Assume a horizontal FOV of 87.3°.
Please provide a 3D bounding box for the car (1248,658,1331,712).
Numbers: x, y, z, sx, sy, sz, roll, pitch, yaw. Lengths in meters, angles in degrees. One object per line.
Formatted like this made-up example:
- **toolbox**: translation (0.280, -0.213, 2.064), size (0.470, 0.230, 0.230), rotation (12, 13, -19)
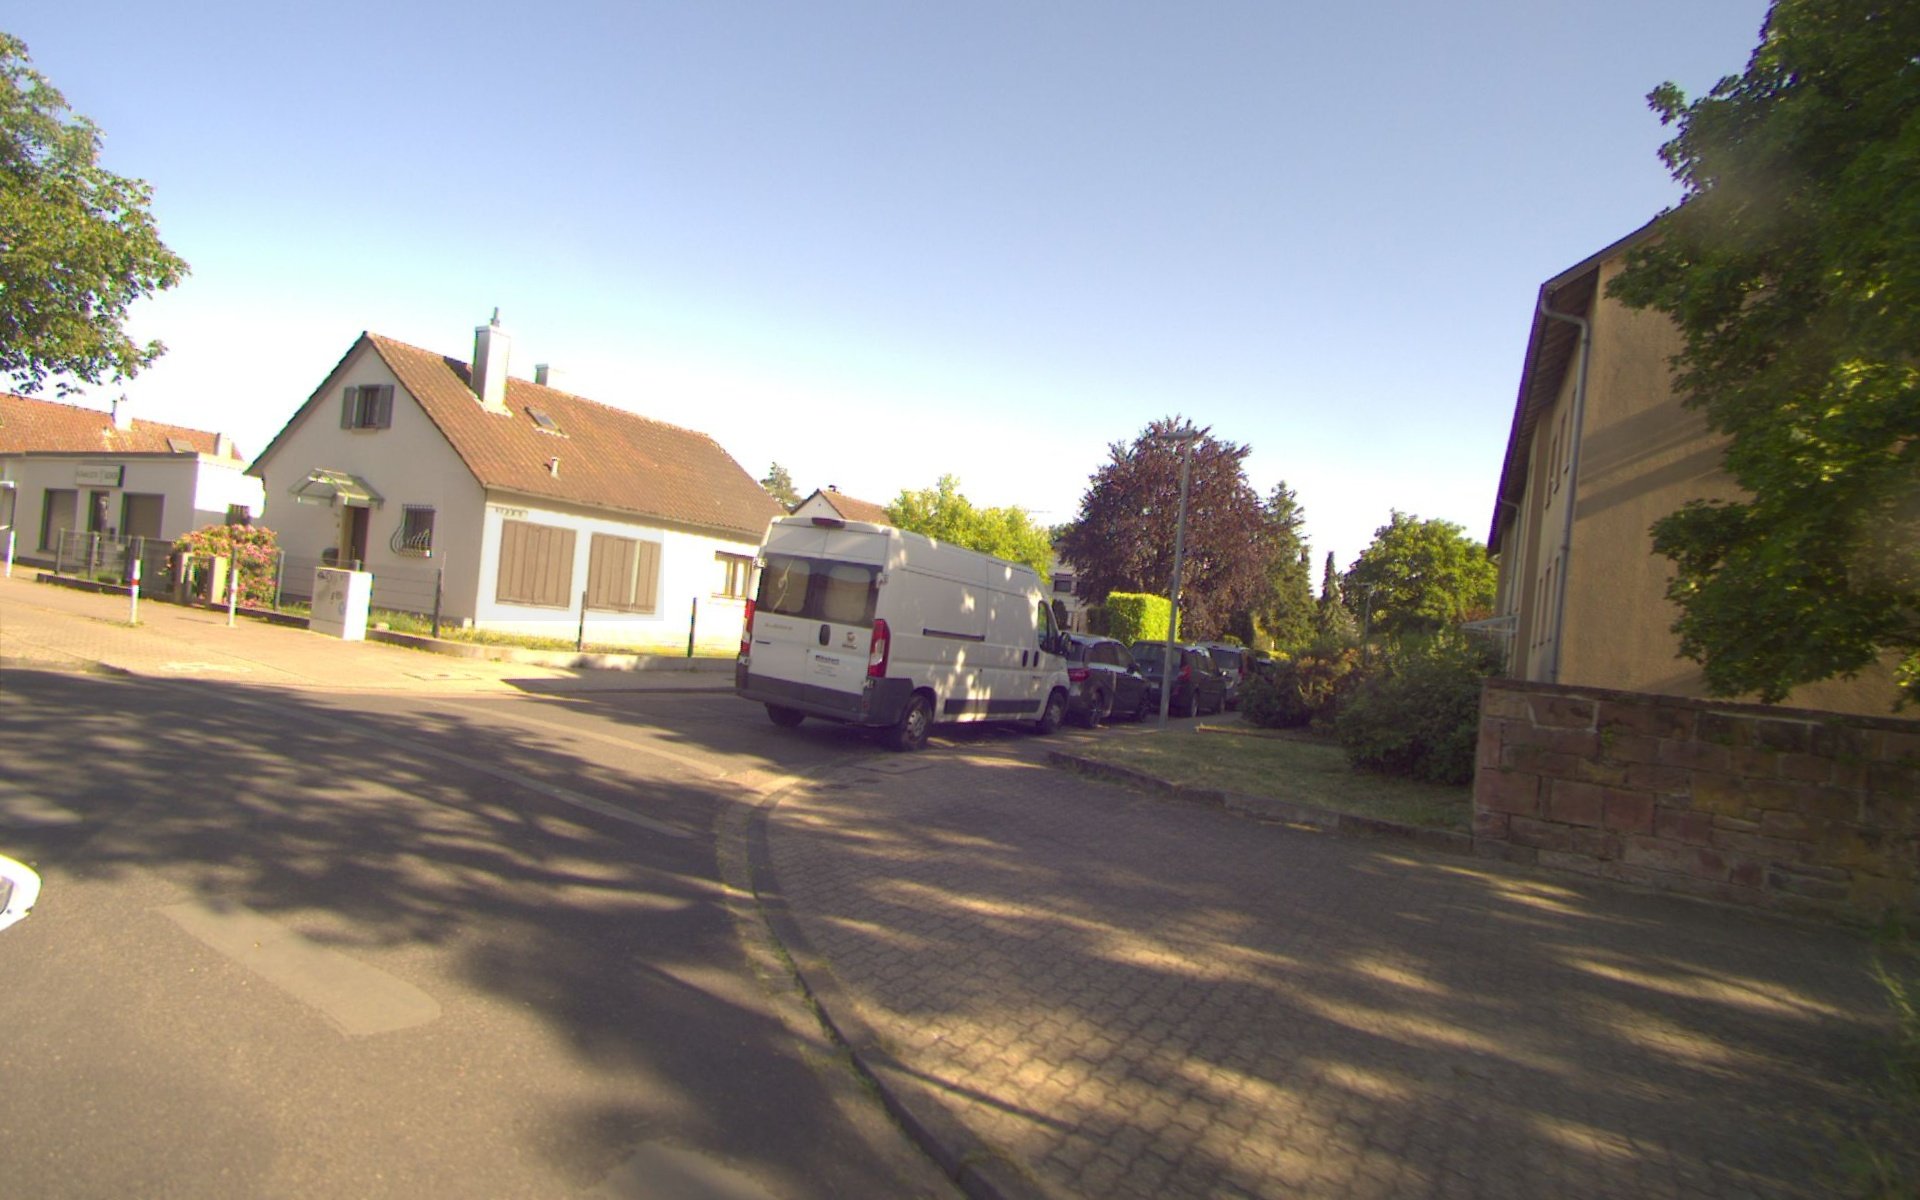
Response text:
- **car**: translation (13.082, 3.378, 39.738), size (2.245, 1.706, 4.754), rotation (7, -2, 28)

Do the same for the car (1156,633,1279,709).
- **car**: translation (7.455, 2.082, 28.715), size (2.245, 1.706, 4.754), rotation (7, -2, 28)

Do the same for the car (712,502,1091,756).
- **car**: translation (-0.425, 0.449, 13.506), size (2.227, 2.570, 5.605), rotation (6, -1, 29)

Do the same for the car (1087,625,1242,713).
- **car**: translation (4.946, 1.693, 23.721), size (2.245, 1.599, 4.754), rotation (7, -2, 28)

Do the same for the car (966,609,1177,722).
- **car**: translation (2.258, 1.293, 18.933), size (2.245, 1.599, 4.754), rotation (7, -2, 28)

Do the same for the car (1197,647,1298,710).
- **car**: translation (9.807, 2.710, 34.027), size (2.245, 1.706, 4.754), rotation (7, -2, 28)
